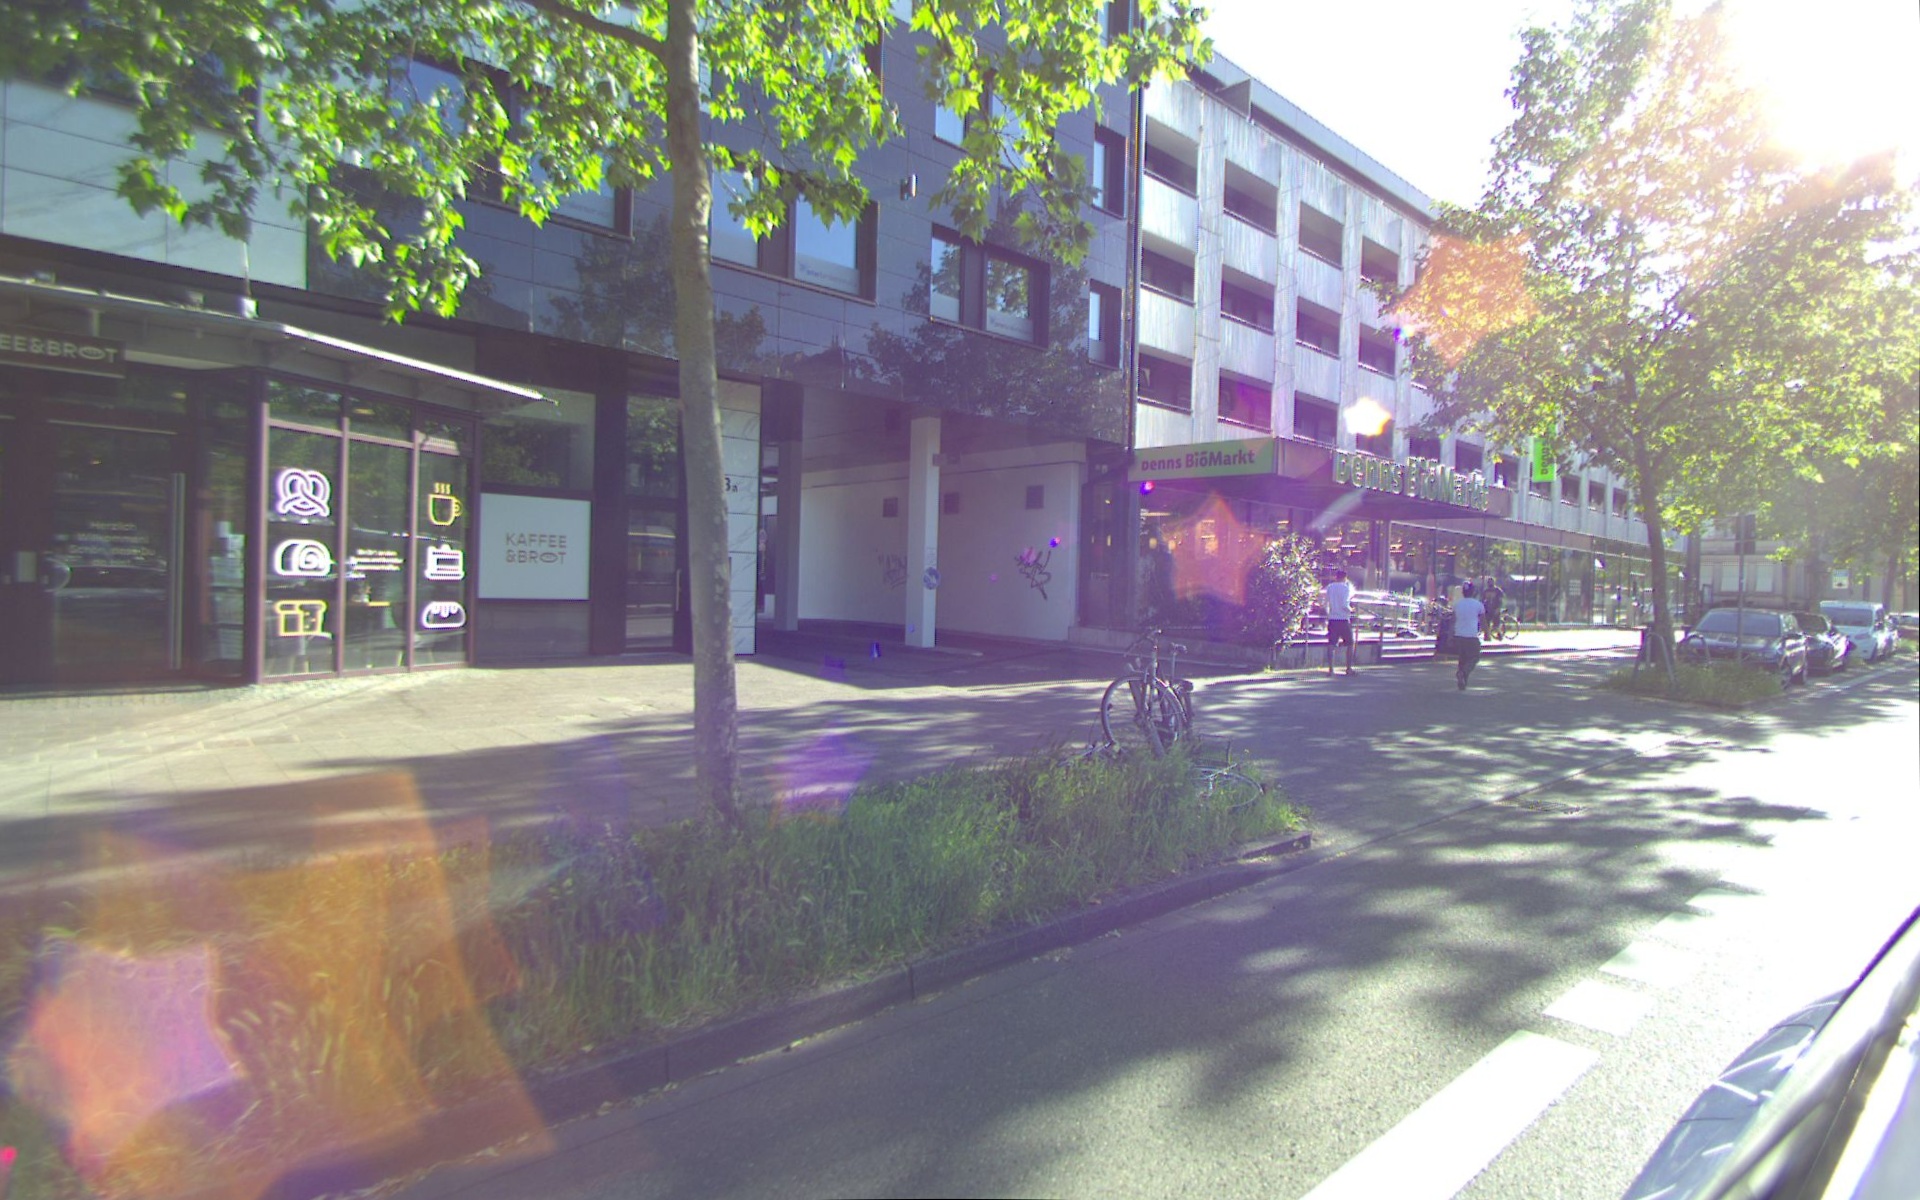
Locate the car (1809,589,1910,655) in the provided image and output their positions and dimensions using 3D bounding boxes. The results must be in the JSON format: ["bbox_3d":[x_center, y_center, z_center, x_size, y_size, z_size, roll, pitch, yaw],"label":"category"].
[{"bbox_3d":[27.436,0.630,30.832,4.317,1.814,1.767,1,2,-42],"label":"car"}]

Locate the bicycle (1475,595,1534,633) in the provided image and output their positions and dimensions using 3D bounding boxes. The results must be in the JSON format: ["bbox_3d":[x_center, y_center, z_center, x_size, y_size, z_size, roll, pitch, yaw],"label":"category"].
[{"bbox_3d":[17.287,0.426,32.195,0.573,1.068,1.710,3,3,-15],"label":"bicycle"}]

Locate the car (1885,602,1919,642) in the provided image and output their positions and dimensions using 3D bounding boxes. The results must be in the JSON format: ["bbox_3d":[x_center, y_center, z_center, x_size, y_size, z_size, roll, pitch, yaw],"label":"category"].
[{"bbox_3d":[38.811,0.886,40.948,3.628,1.455,1.675,-1,4,-43],"label":"car"}]

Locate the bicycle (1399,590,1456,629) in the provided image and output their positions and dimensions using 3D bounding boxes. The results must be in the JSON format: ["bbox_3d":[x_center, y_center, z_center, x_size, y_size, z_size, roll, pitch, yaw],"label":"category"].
[{"bbox_3d":[14.702,0.283,31.868,0.573,1.068,1.709,5,1,-15],"label":"bicycle"}]

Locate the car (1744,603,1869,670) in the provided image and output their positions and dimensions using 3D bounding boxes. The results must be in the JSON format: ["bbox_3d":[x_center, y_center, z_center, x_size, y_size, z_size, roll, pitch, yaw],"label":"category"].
[{"bbox_3d":[20.435,0.797,24.362,4.620,1.436,1.763,0,0,-43],"label":"car"}]

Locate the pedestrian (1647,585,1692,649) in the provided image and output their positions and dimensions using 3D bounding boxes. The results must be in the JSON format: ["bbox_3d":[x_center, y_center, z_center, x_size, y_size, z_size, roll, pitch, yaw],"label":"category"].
[{"bbox_3d":[18.913,0.447,26.983,0.852,1.632,0.699,1,3,-40],"label":"pedestrian"}]

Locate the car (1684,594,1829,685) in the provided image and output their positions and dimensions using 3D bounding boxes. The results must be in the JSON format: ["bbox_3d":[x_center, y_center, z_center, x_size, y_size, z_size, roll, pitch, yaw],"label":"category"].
[{"bbox_3d":[15.661,0.697,19.828,3.931,1.570,1.567,0,1,-42],"label":"car"}]

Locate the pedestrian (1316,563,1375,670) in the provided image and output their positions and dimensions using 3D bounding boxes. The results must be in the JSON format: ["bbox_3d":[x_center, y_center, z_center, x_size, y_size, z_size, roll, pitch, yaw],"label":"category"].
[{"bbox_3d":[6.580,0.276,17.260,0.863,1.766,0.561,1,1,-42],"label":"pedestrian"}]

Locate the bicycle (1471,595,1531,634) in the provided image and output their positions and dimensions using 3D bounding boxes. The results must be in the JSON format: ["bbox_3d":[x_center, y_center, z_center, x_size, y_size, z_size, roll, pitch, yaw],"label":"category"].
[{"bbox_3d":[16.702,0.432,31.291,0.573,1.068,1.709,3,2,-15],"label":"bicycle"}]

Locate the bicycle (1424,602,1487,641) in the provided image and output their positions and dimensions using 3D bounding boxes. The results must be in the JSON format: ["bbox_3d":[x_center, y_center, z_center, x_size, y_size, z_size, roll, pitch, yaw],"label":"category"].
[{"bbox_3d":[13.953,0.596,28.561,0.573,0.927,1.656,5,1,-15],"label":"bicycle"}]

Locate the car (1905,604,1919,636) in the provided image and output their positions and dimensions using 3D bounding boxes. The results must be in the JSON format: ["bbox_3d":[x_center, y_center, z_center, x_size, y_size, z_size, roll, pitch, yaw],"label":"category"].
[{"bbox_3d":[46.169,0.972,48.004,3.863,1.459,1.628,0,2,-42],"label":"car"}]

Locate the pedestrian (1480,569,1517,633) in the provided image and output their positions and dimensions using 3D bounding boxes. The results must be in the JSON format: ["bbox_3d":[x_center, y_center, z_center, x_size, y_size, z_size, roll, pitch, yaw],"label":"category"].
[{"bbox_3d":[14.771,0.030,27.747,0.867,1.698,0.558,0,3,-43],"label":"pedestrian"}]

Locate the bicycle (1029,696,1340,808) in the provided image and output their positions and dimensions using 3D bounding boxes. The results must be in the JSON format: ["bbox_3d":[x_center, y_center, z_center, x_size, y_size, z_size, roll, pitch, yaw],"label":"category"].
[{"bbox_3d":[1.533,0.994,7.009,1.365,0.357,1.612,0,3,-42],"label":"bicycle"}]

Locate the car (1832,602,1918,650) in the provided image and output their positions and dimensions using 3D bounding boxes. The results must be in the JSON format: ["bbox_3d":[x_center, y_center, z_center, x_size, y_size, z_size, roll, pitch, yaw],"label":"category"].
[{"bbox_3d":[31.053,0.843,34.312,4.222,1.420,1.731,0,3,-43],"label":"car"}]

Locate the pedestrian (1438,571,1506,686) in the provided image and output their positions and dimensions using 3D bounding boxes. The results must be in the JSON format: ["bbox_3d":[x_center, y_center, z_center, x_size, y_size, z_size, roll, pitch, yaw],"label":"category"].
[{"bbox_3d":[7.970,0.421,15.750,1.034,1.725,0.561,1,1,-42],"label":"pedestrian"}]

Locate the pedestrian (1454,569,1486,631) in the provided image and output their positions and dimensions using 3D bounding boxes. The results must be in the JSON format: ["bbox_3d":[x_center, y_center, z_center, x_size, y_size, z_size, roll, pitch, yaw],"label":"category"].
[{"bbox_3d":[14.950,-0.008,29.681,0.607,1.735,0.608,8,4,23],"label":"pedestrian"}]

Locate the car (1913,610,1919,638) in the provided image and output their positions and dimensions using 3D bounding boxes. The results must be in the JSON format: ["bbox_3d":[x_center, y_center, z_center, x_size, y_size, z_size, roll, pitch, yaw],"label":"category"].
[{"bbox_3d":[49.921,1.221,51.470,4.203,1.399,1.779,0,1,-42],"label":"car"}]

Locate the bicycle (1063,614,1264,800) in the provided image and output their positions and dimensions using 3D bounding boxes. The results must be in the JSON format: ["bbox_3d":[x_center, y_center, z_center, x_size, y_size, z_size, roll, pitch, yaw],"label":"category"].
[{"bbox_3d":[1.572,0.707,7.554,0.786,1.147,1.823,2,1,35],"label":"bicycle"}]
